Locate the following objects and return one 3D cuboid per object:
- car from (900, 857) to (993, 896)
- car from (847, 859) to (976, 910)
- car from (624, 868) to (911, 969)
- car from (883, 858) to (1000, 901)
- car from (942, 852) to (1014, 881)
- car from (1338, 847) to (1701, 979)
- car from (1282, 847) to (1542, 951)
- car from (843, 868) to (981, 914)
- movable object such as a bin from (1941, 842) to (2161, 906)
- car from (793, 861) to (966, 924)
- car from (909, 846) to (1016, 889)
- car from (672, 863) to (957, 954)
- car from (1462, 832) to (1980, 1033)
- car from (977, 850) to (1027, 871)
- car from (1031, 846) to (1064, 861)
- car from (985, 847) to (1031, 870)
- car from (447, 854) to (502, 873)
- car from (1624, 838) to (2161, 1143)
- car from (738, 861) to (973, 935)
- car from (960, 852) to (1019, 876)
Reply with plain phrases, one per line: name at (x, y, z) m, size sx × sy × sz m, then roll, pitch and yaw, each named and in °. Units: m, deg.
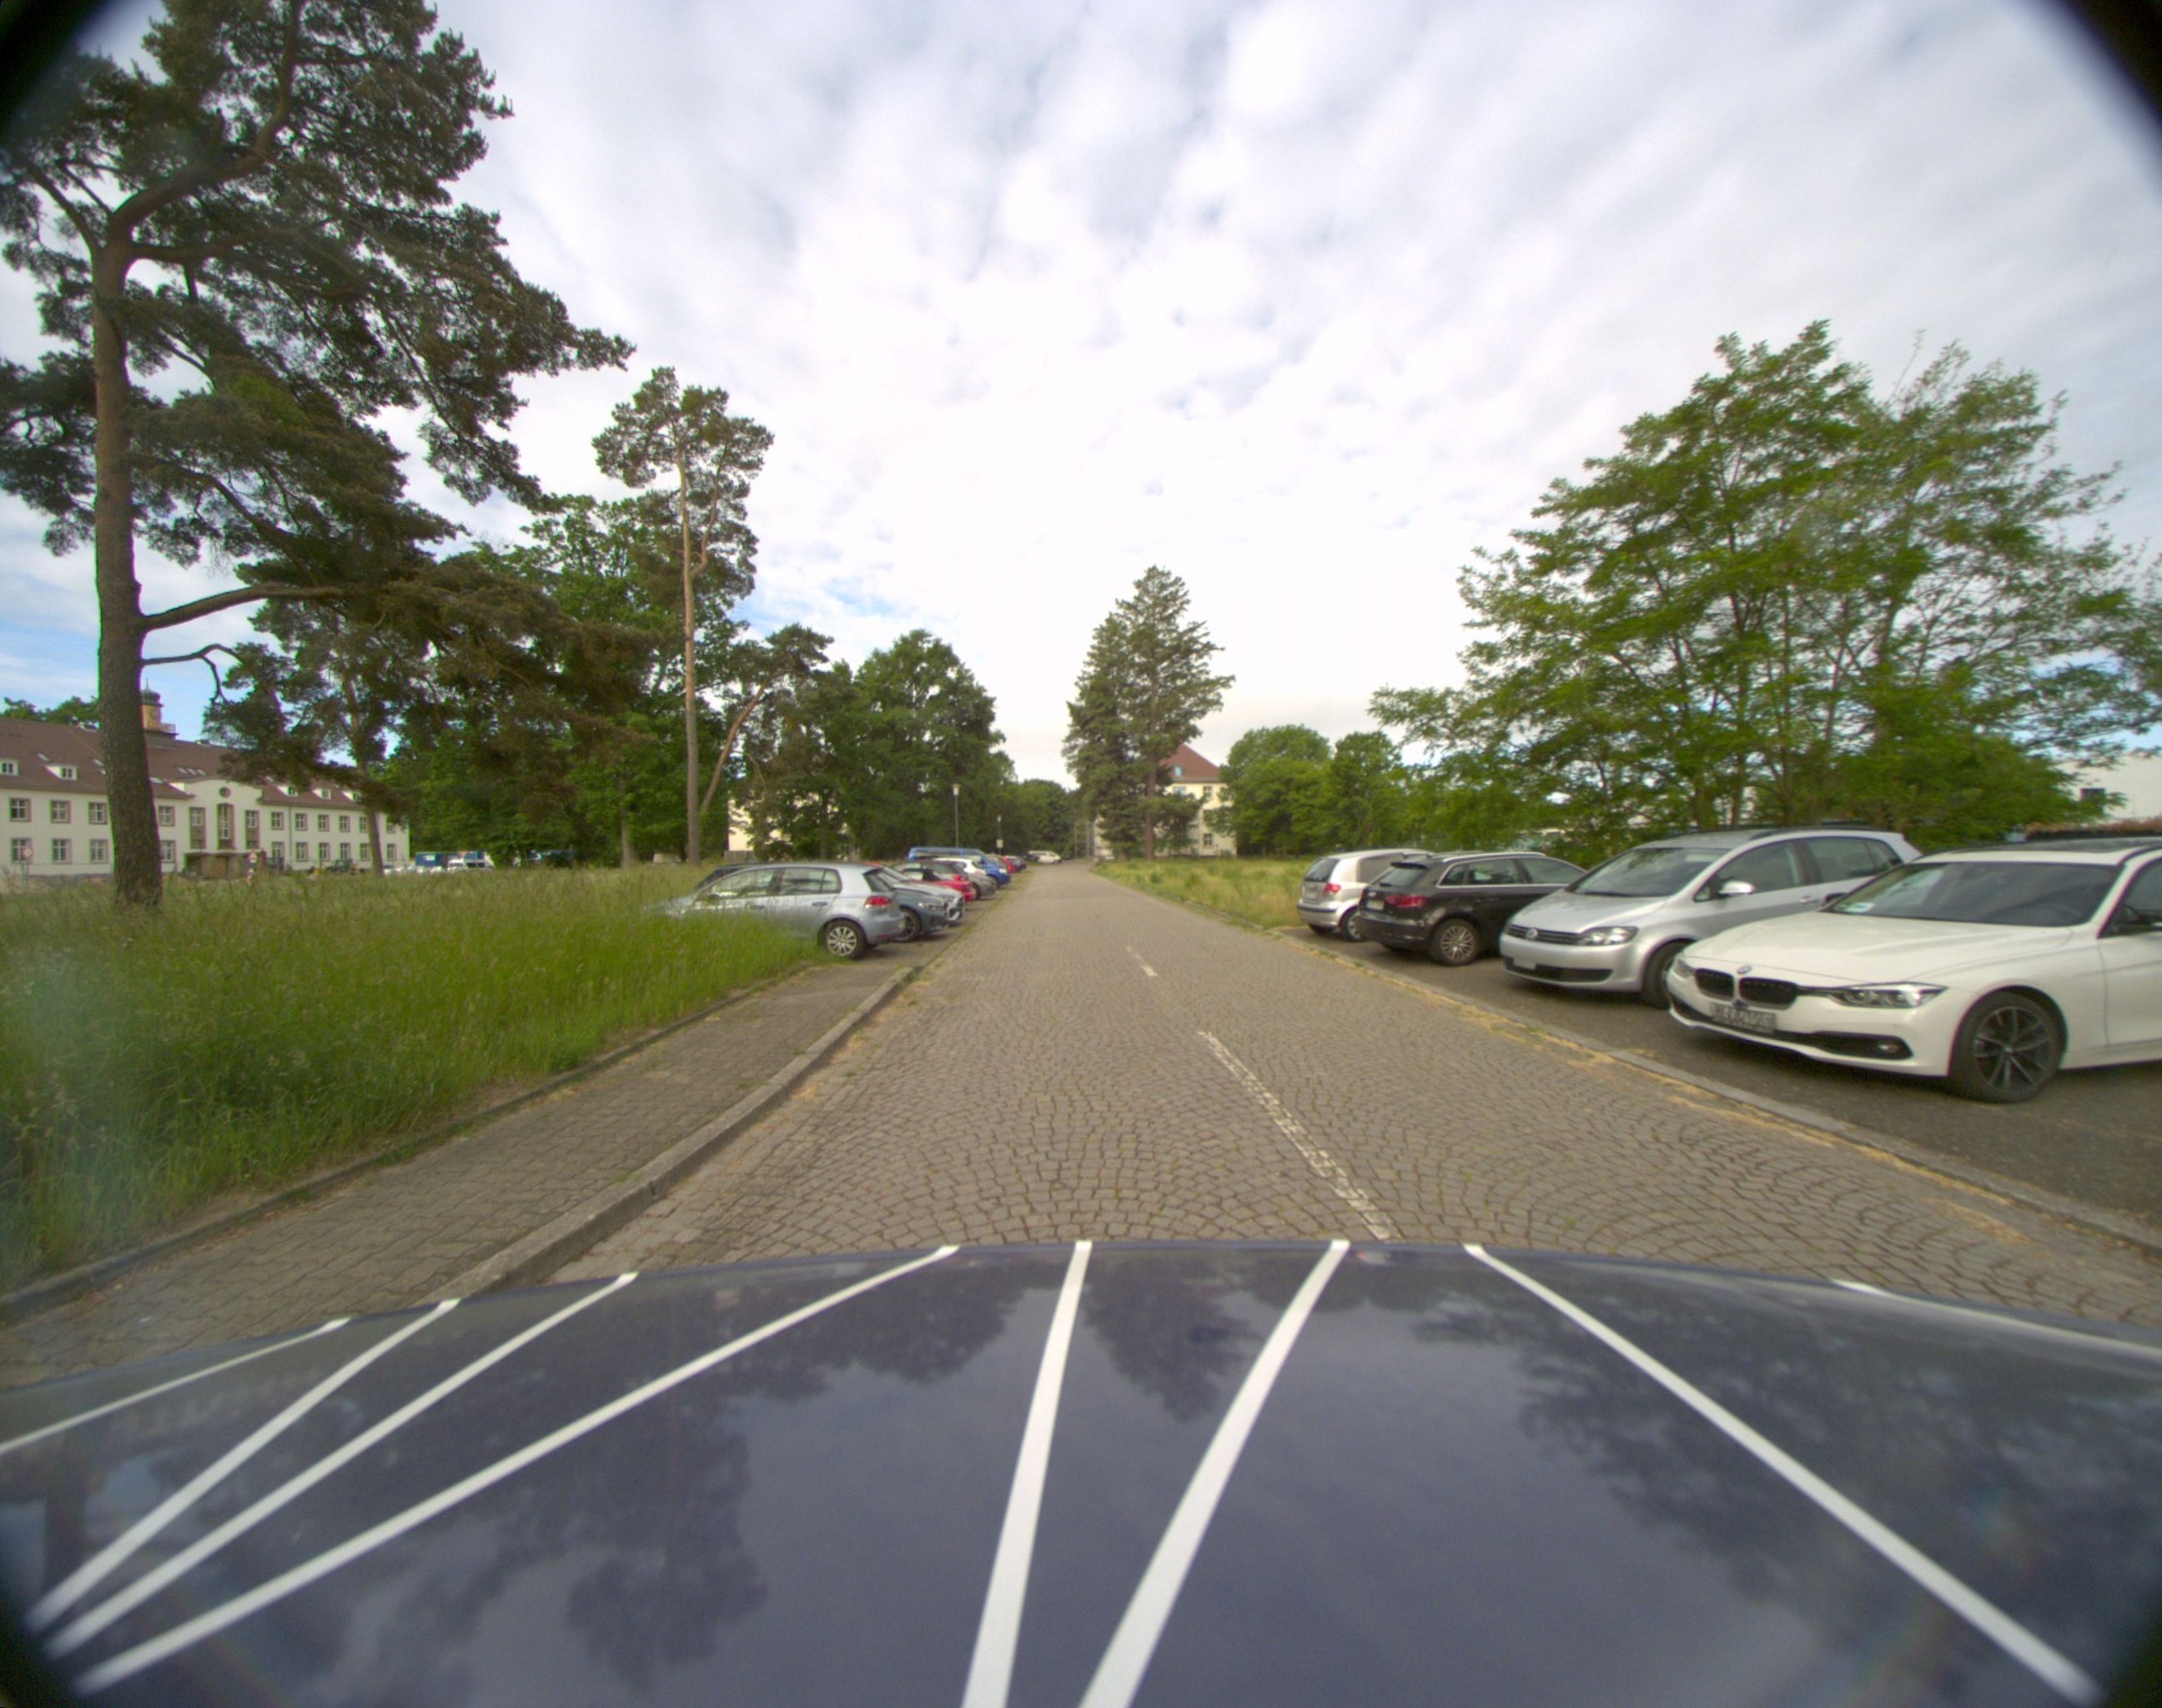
car at (-5.280, 0.874, 30.191) m, size 3.409 × 1.444 × 1.637 m, roll -1°, pitch 1°, yaw -1°
car at (-5.370, 0.945, 24.473) m, size 3.787 × 1.497 × 1.798 m, roll -1°, pitch 1°, yaw -4°
car at (-4.672, 0.947, 11.747) m, size 3.774 × 1.418 × 1.605 m, roll 0°, pitch 0°, yaw -3°
car at (-4.946, 0.890, 27.379) m, size 3.849 × 1.448 × 1.820 m, roll -1°, pitch 1°, yaw 0°
car at (-5.990, 0.723, 44.535) m, size 3.998 × 1.601 × 1.999 m, roll -1°, pitch 1°, yaw -2°
car at (5.875, 0.735, 10.486) m, size 3.998 × 1.419 × 1.750 m, roll -3°, pitch 1°, yaw -3°
car at (5.649, 0.707, 13.228) m, size 3.689 × 1.444 × 1.807 m, roll -4°, pitch 1°, yaw -7°
car at (-4.786, 1.046, 21.833) m, size 3.600 × 1.200 × 1.494 m, roll -1°, pitch 0°, yaw -1°
movable object such as a bin at (18.887, 0.366, 14.860) m, size 2.397 × 1.154 × 1.500 m, roll -1°, pitch 1°, yaw 3°
car at (-5.057, 0.941, 19.508) m, size 3.973 × 1.444 × 1.799 m, roll -1°, pitch 1°, yaw -2°
car at (-5.470, 0.597, 35.608) m, size 4.750 × 1.928 × 1.999 m, roll 0°, pitch 1°, yaw -3°
car at (-4.824, 0.967, 14.361) m, size 4.771 × 1.474 × 1.760 m, roll -1°, pitch 1°, yaw -5°
car at (6.301, 0.675, 7.725) m, size 3.999 × 1.538 × 1.723 m, roll -3°, pitch 1°, yaw -7°
car at (-6.738, 0.522, 65.095) m, size 4.008 × 1.752 × 2.000 m, roll -1°, pitch 1°, yaw -1°
car at (-5.181, -0.130, 118.445) m, size 5.032 × 2.164 × 2.000 m, roll -1°, pitch 1°, yaw 0°
car at (-6.656, 0.390, 69.496) m, size 3.997 × 2.002 × 2.000 m, roll -1°, pitch 1°, yaw -1°
car at (-71.411, 1.099, 89.600) m, size 2.154 × 2.002 × 5.223 m, roll -1°, pitch 1°, yaw 1°
car at (6.671, 0.724, 5.270) m, size 4.661 × 1.435 × 1.800 m, roll -3°, pitch 1°, yaw -6°
car at (-4.962, 0.958, 17.249) m, size 4.770 × 1.474 × 1.812 m, roll -1°, pitch 1°, yaw -2°
car at (-6.594, 0.732, 54.848) m, size 3.998 × 1.521 × 1.999 m, roll -2°, pitch 1°, yaw -2°
